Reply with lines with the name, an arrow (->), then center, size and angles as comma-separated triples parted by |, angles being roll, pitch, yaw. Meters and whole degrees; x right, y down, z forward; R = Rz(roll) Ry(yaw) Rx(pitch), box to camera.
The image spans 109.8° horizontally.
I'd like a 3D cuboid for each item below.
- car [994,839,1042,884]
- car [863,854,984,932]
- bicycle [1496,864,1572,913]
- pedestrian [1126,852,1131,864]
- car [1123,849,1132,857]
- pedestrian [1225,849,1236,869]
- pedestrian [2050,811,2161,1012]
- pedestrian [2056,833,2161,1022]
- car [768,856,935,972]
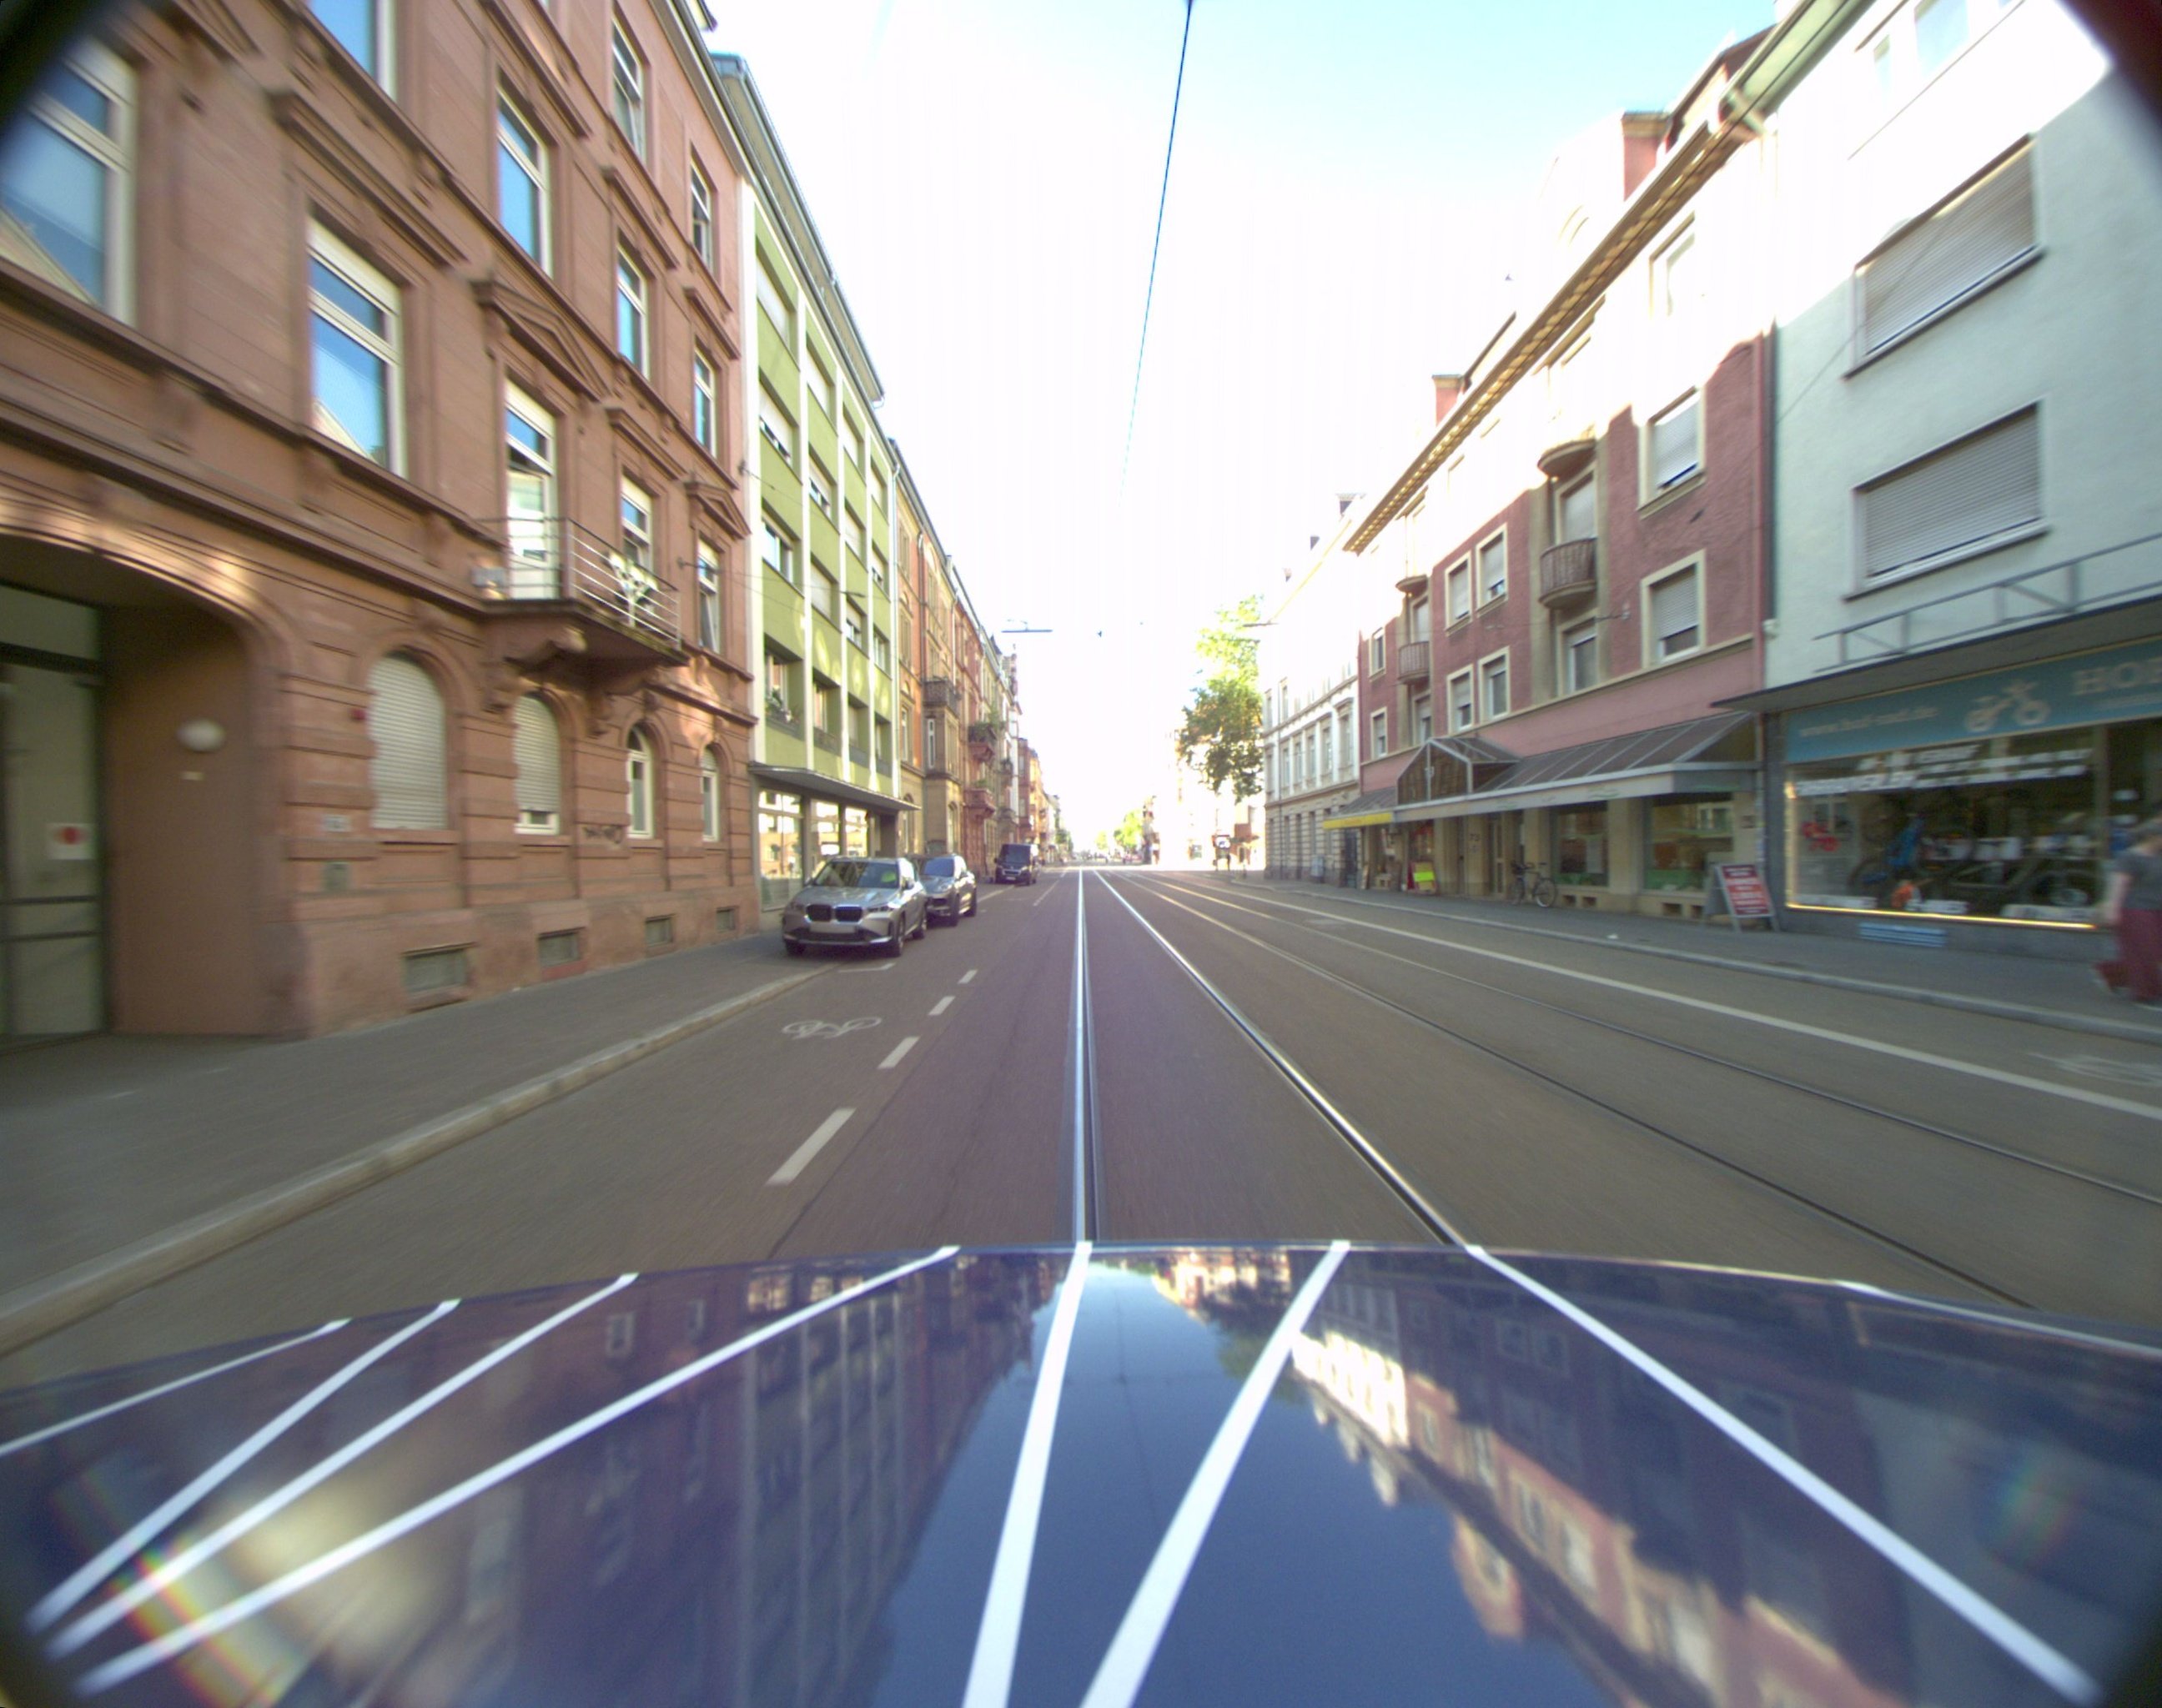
car -> -3.745, 0.407, 46.284 | 2.128, 2.478, 5.856 | -2, 1, 2
car -> -3.764, 0.862, 19.074 | 1.999, 1.606, 4.785 | 2, 1, 0
bicycle -> 10.883, 0.790, 18.364 | 0.425, 1.053, 2.329 | -2, 1, 0
pedestrian -> 8.383, 0.662, 134.154 | 0.756, 2.002, 0.718 | -2, 1, 0
car -> 11.419, -0.282, 187.270 | 1.998, 2.002, 4.000 | -1, 0, 0
pedestrian -> 14.109, 0.471, 71.709 | 0.795, 1.837, 0.809 | -2, 1, 3
pedestrian -> 9.863, 0.497, 7.077 | 0.627, 1.779, 0.821 | -2, 1, 0
pedestrian -> 9.120, 0.600, 6.548 | 0.637, 1.540, 0.623 | -2, 1, 0
car -> -3.877, 0.907, 13.662 | 1.871, 1.637, 4.399 | -2, 1, -4
